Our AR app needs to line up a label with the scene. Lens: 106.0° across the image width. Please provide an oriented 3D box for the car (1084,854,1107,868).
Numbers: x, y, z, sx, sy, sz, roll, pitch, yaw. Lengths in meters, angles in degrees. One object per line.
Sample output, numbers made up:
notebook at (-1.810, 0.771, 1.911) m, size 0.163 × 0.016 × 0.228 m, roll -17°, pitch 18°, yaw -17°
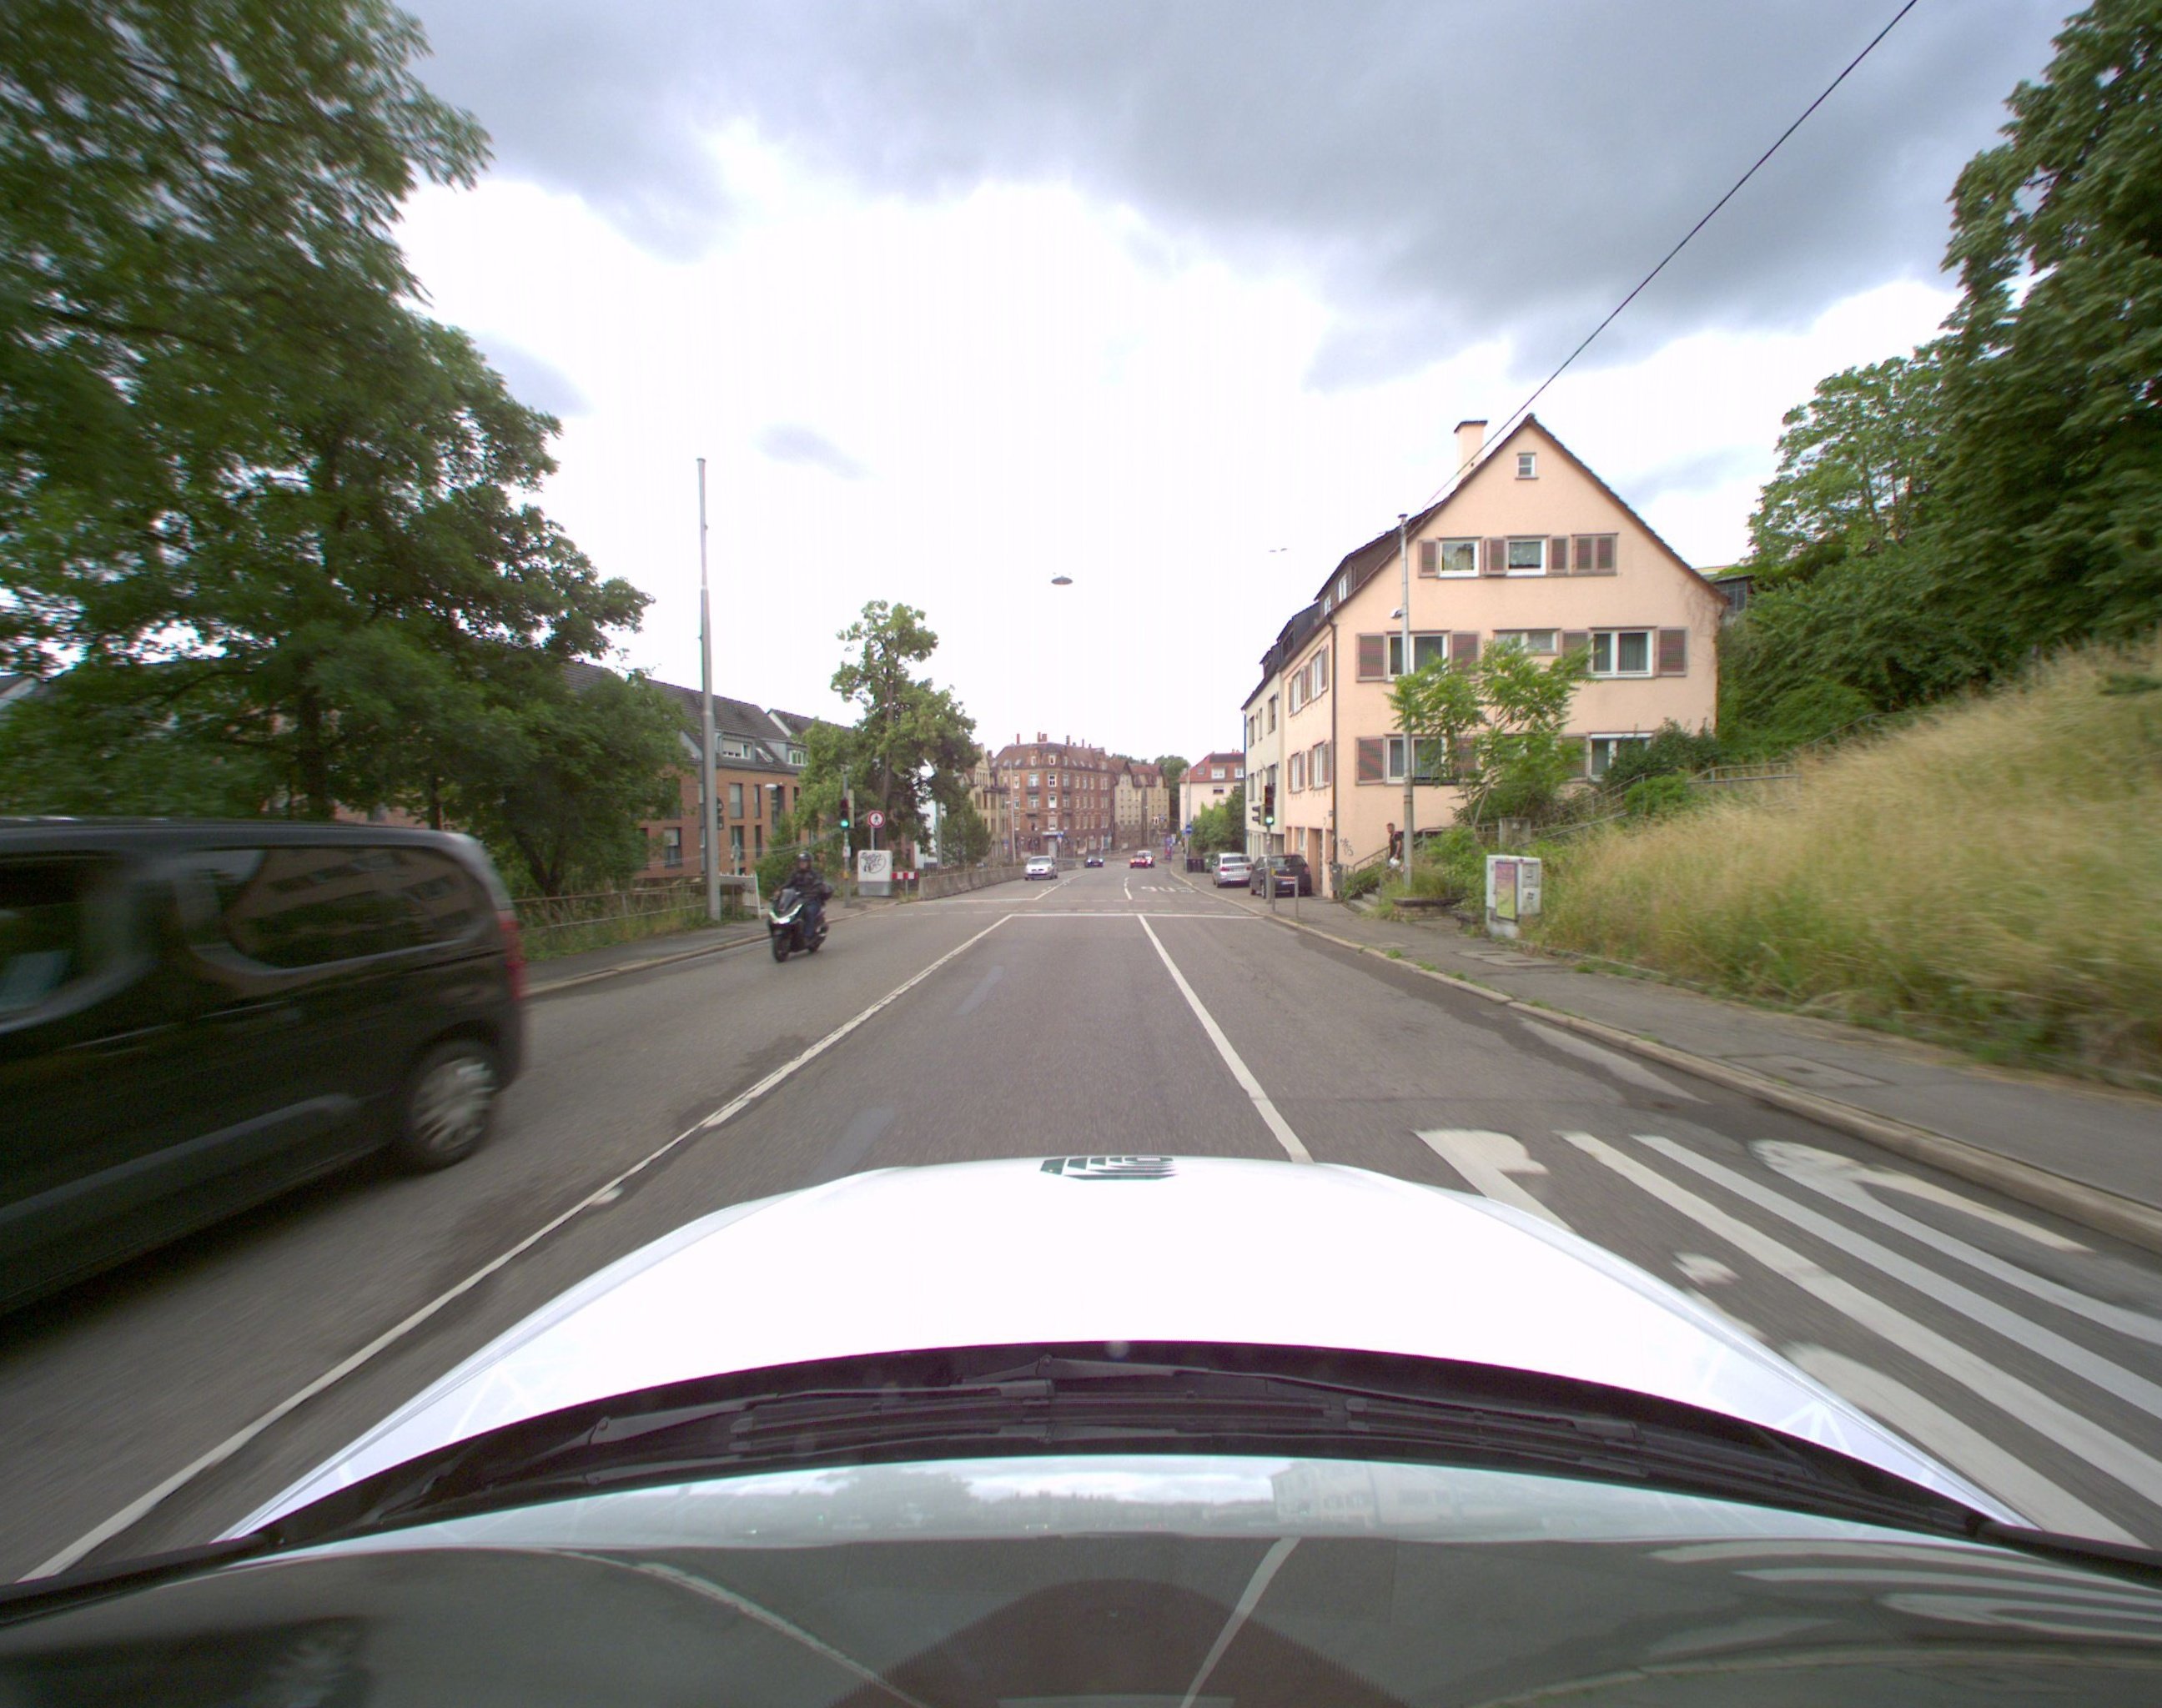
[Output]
car at (1.841, 0.837, 101.590) m, size 1.969 × 1.575 × 4.389 m, roll -2°, pitch 0°, yaw 11°

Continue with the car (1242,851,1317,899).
car at (6.831, 0.690, 28.421) m, size 1.675 × 1.451 × 4.002 m, roll -4°, pitch -1°, yaw 2°

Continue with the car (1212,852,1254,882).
car at (7.872, 0.626, 42.536) m, size 1.785 × 1.423 × 4.011 m, roll -2°, pitch 0°, yaw 6°

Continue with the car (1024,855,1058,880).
car at (-2.451, 0.834, 50.793) m, size 1.714 × 1.445 × 4.160 m, roll -2°, pitch 0°, yaw 2°

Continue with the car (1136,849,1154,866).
car at (7.557, 0.382, 95.352) m, size 1.899 × 1.884 × 4.007 m, roll 1°, pitch 0°, yaw 7°

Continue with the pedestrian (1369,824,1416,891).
pedestrian at (8.110, 0.096, 21.237) m, size 0.884 × 1.696 × 0.872 m, roll 1°, pitch -1°, yaw -2°

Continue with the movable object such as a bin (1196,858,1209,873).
movable object such as a bin at (8.601, 0.785, 57.696) m, size 0.743 × 1.058 × 0.676 m, roll 0°, pitch -1°, yaw -13°

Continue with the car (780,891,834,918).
car at (-19.007, 3.487, 56.661) m, size 1.783 × 1.510 × 4.011 m, roll -2°, pitch 0°, yaw 10°

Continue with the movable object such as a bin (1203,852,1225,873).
movable object such as a bin at (9.094, 0.586, 55.884) m, size 1.048 × 1.445 × 1.412 m, roll 0°, pitch -1°, yaw -13°

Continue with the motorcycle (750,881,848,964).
motorcycle at (-4.503, 1.054, 13.192) m, size 0.782 × 1.145 × 2.058 m, roll -2°, pitch 0°, yaw 2°

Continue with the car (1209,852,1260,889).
car at (6.937, 0.708, 37.248) m, size 1.785 × 1.451 × 4.726 m, roll -4°, pitch 0°, yaw 6°

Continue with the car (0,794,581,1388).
car at (-4.078, 0.719, 2.897) m, size 1.778 × 1.746 × 4.429 m, roll -2°, pitch 0°, yaw 0°

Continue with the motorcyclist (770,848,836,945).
motorcyclist at (-4.511, 0.681, 13.250) m, size 0.782 × 1.516 × 0.669 m, roll -2°, pitch 0°, yaw 1°

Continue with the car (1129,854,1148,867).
car at (6.302, 0.693, 88.664) m, size 1.807 × 1.430 × 4.008 m, roll 1°, pitch 0°, yaw 7°

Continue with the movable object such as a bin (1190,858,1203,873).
movable object such as a bin at (8.269, 0.799, 58.515) m, size 0.743 × 1.058 × 0.676 m, roll 0°, pitch -1°, yaw -13°
